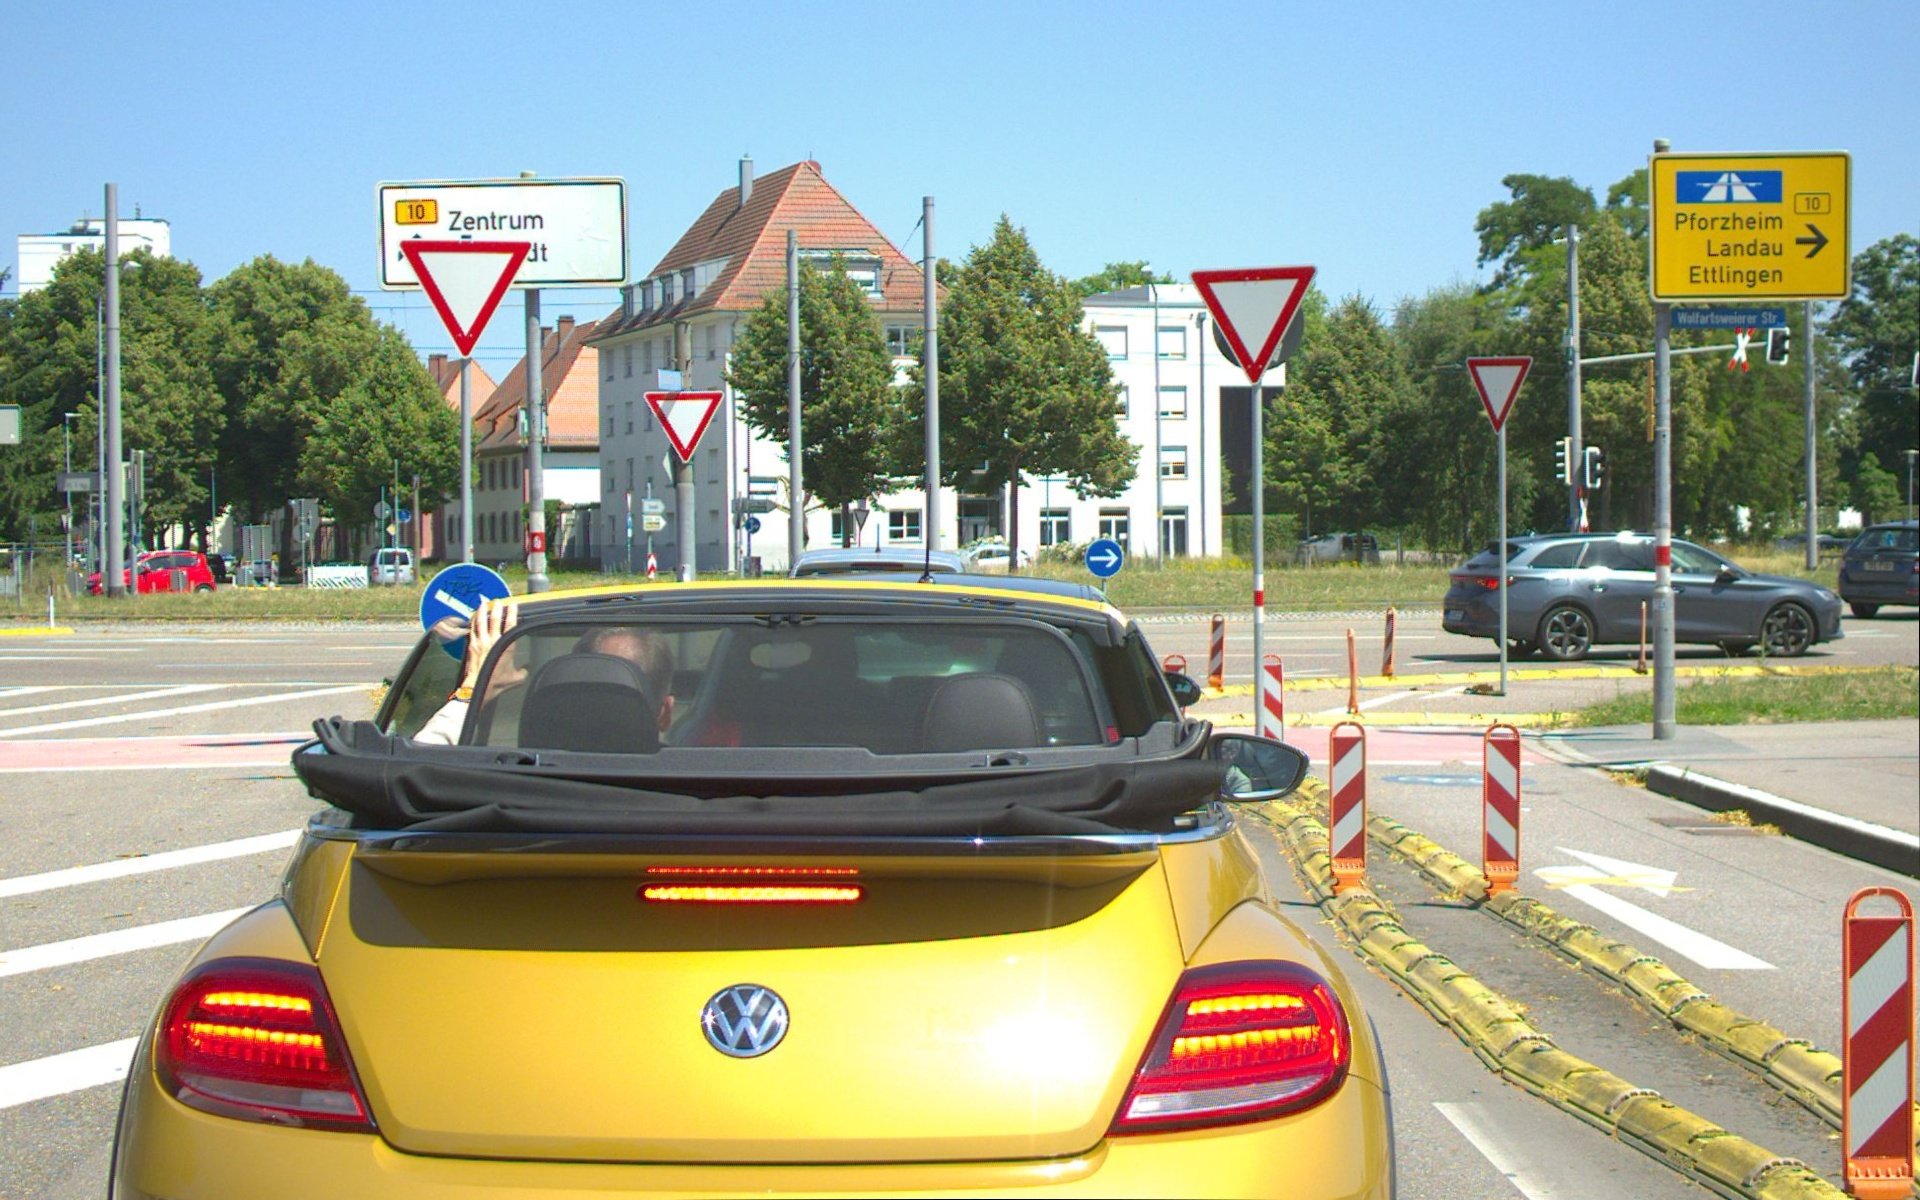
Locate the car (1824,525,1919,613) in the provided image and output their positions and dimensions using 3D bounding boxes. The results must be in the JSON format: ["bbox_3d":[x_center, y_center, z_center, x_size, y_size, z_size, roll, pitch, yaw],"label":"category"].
[{"bbox_3d":[14.288,-0.446,50.634,3.208,1.254,1.438,0,1,-41],"label":"car"}]

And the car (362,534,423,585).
[{"bbox_3d":[-23.497,-1.684,142.224,1.987,2.063,5.330,1,1,-15],"label":"car"}]

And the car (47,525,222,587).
[{"bbox_3d":[-23.048,-1.228,96.035,4.334,1.648,1.900,0,1,-40],"label":"car"}]

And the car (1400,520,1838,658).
[{"bbox_3d":[7.614,-0.151,39.909,4.527,1.476,2.072,-1,1,-12],"label":"car"}]

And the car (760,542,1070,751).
[{"bbox_3d":[-0.328,0.293,25.268,2.065,1.377,4.258,1,1,-1],"label":"car"}]

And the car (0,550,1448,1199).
[{"bbox_3d":[-0.340,0.669,6.187,1.765,1.476,4.258,1,1,-1],"label":"car"}]

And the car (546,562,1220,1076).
[{"bbox_3d":[-0.238,0.585,11.671,1.851,1.361,4.258,-1,1,-1],"label":"car"}]
